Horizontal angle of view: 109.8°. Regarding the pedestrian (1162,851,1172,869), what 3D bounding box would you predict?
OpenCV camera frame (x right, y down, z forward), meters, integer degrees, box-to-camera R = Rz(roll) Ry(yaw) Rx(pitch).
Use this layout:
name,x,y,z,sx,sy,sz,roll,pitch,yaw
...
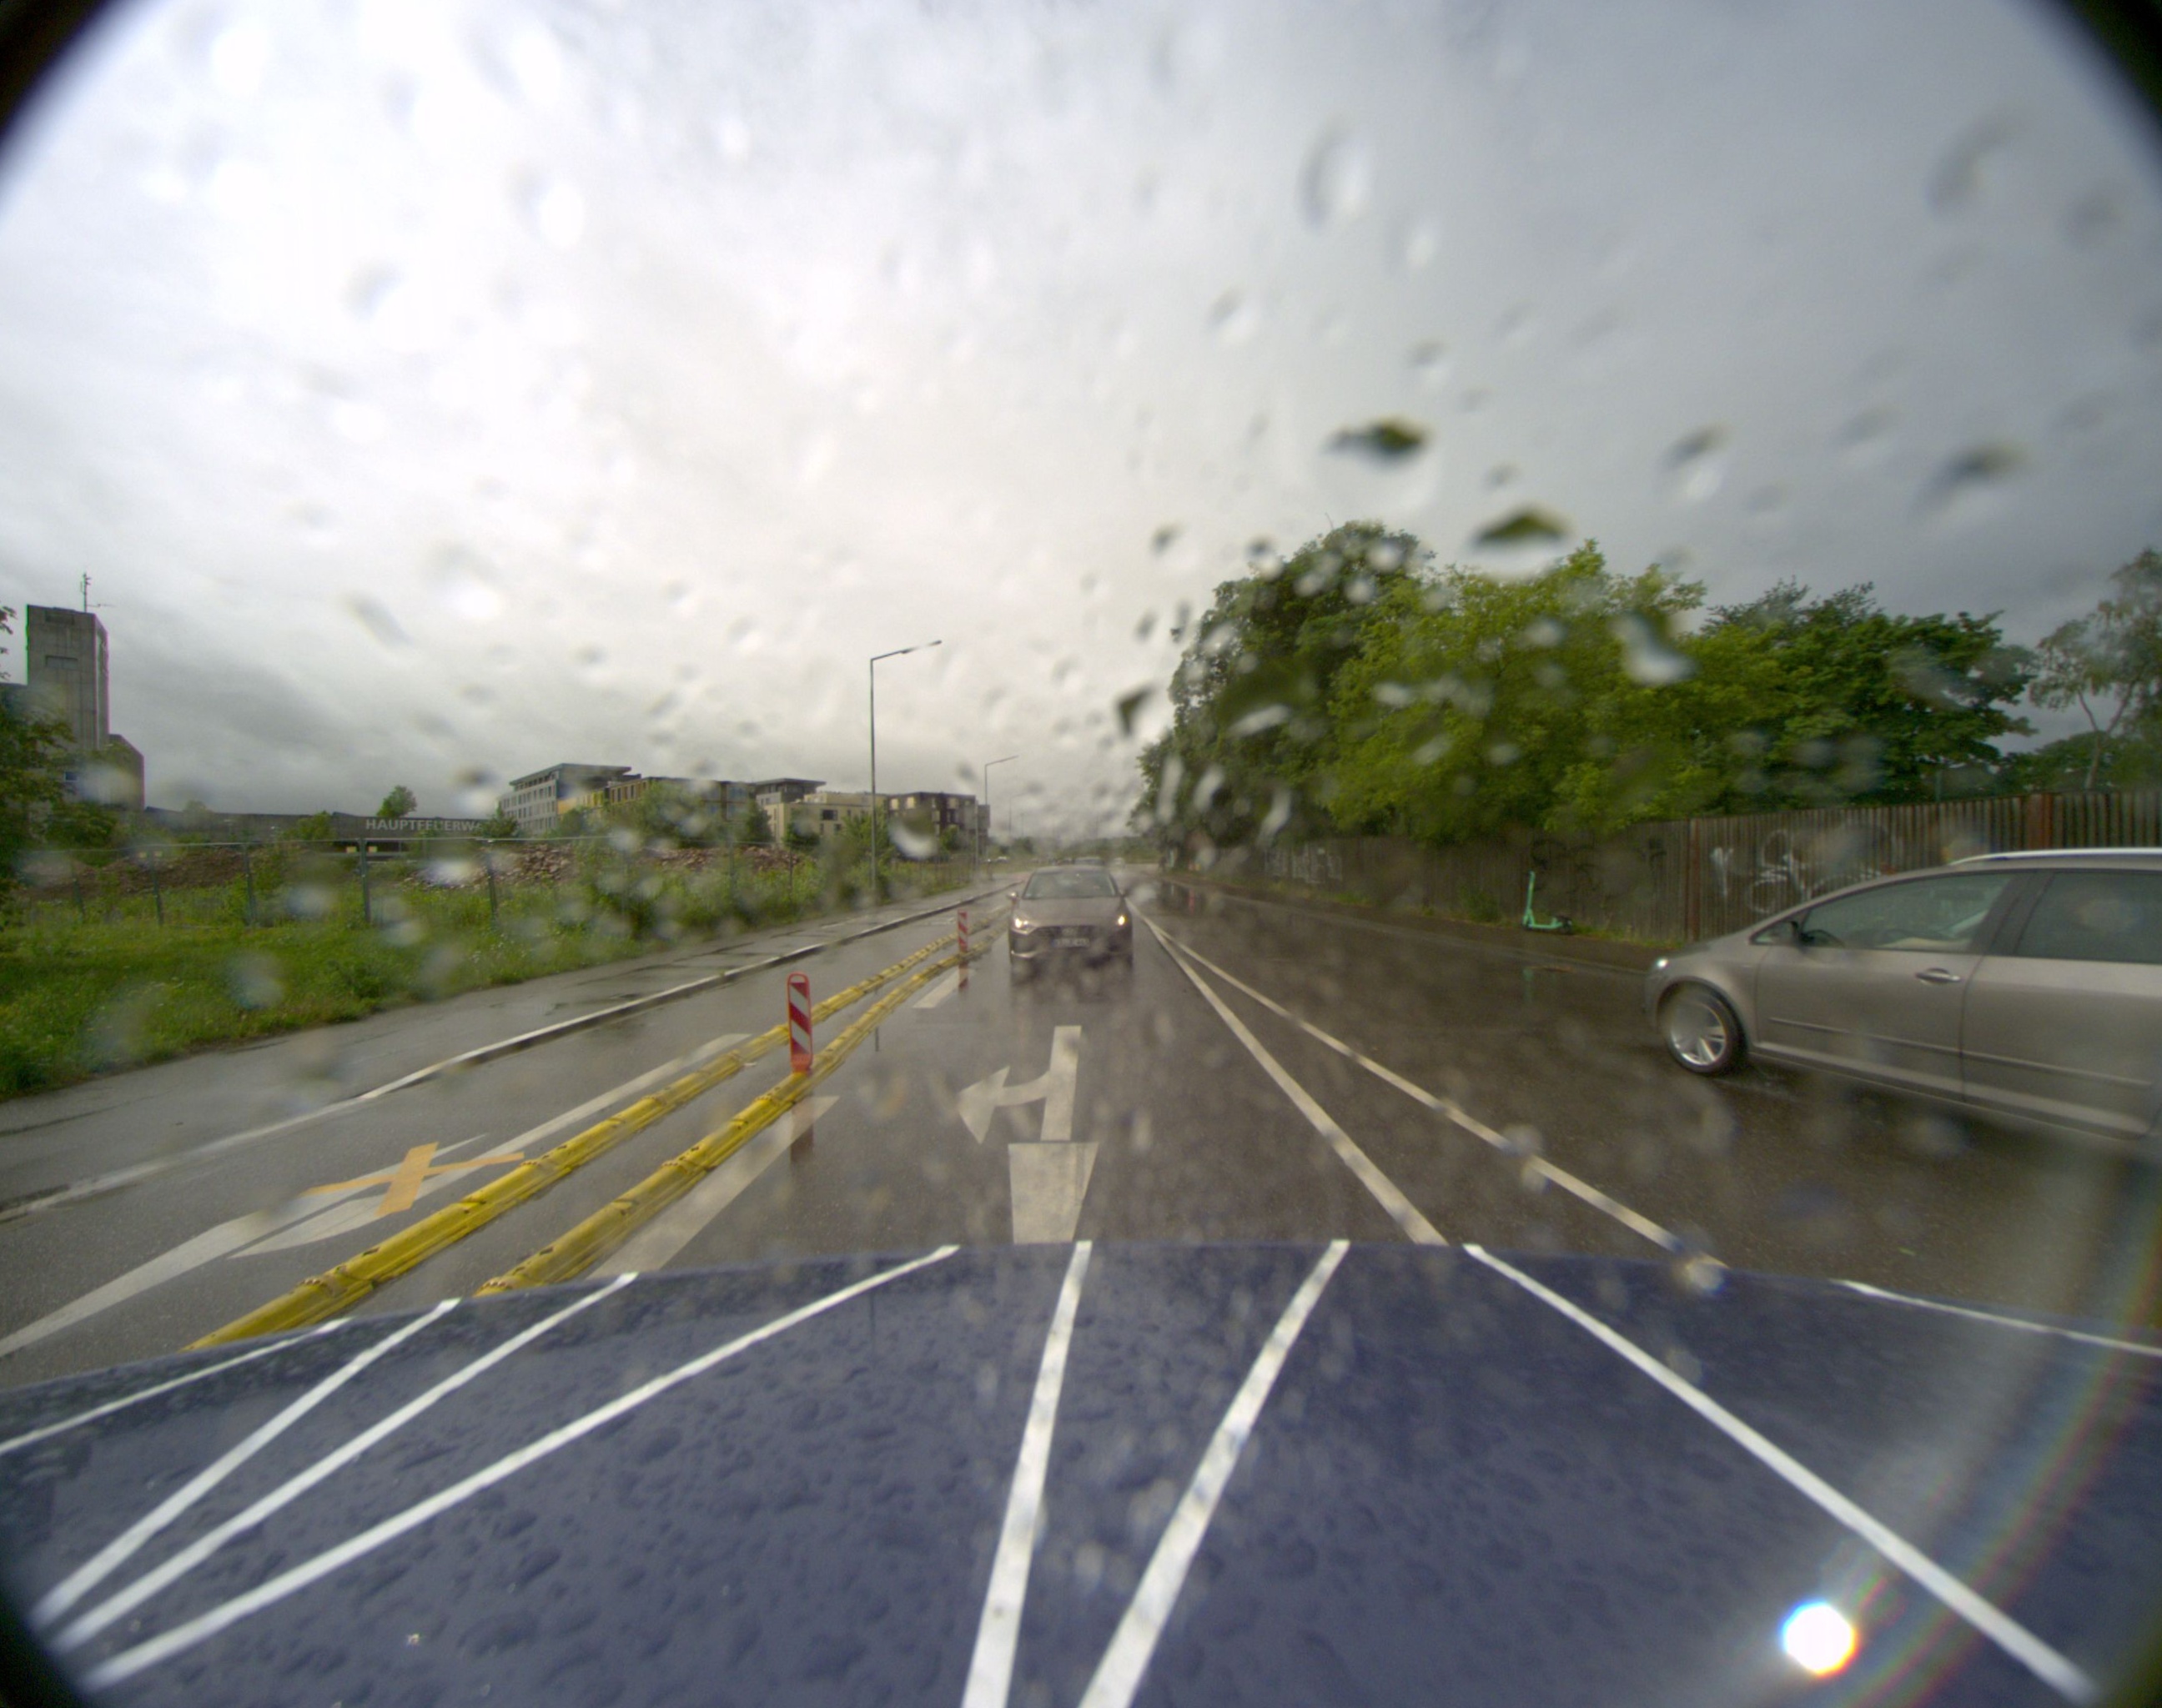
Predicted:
name,x,y,z,sx,sy,sz,roll,pitch,yaw
pedestrian,8.197,0.549,72.548,0.841,1.759,0.644,0,1,1

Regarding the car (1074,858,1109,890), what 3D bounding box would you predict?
name,x,y,z,sx,sy,sz,roll,pitch,yaw
car,0.518,0.996,39.436,1.734,1.539,3.770,-1,0,0

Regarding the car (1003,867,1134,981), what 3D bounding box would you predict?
name,x,y,z,sx,sy,sz,roll,pitch,yaw
car,-0.206,0.972,12.081,1.724,1.423,3.818,-1,0,-1

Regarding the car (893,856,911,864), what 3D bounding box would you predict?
name,x,y,z,sx,sy,sz,roll,pitch,yaw
car,-35.255,1.216,149.700,1.644,1.573,3.674,-1,0,24

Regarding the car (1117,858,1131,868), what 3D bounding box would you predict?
name,x,y,z,sx,sy,sz,roll,pitch,yaw
car,7.375,1.456,128.922,1.795,1.623,3.822,-1,0,12

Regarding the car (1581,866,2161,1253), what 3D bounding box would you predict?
name,x,y,z,sx,sy,sz,roll,pitch,yaw
car,5.263,0.895,4.195,1.786,1.543,4.424,2,0,-5

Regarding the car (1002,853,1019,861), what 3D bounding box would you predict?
name,x,y,z,sx,sy,sz,roll,pitch,yaw
car,-18.731,0.686,202.262,4.008,2.002,1.994,-1,0,-43

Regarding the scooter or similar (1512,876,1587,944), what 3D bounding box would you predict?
name,x,y,z,sx,sy,sz,roll,pitch,yaw
scooter or similar,8.681,1.013,14.116,0.564,1.156,1.207,-1,0,-6
